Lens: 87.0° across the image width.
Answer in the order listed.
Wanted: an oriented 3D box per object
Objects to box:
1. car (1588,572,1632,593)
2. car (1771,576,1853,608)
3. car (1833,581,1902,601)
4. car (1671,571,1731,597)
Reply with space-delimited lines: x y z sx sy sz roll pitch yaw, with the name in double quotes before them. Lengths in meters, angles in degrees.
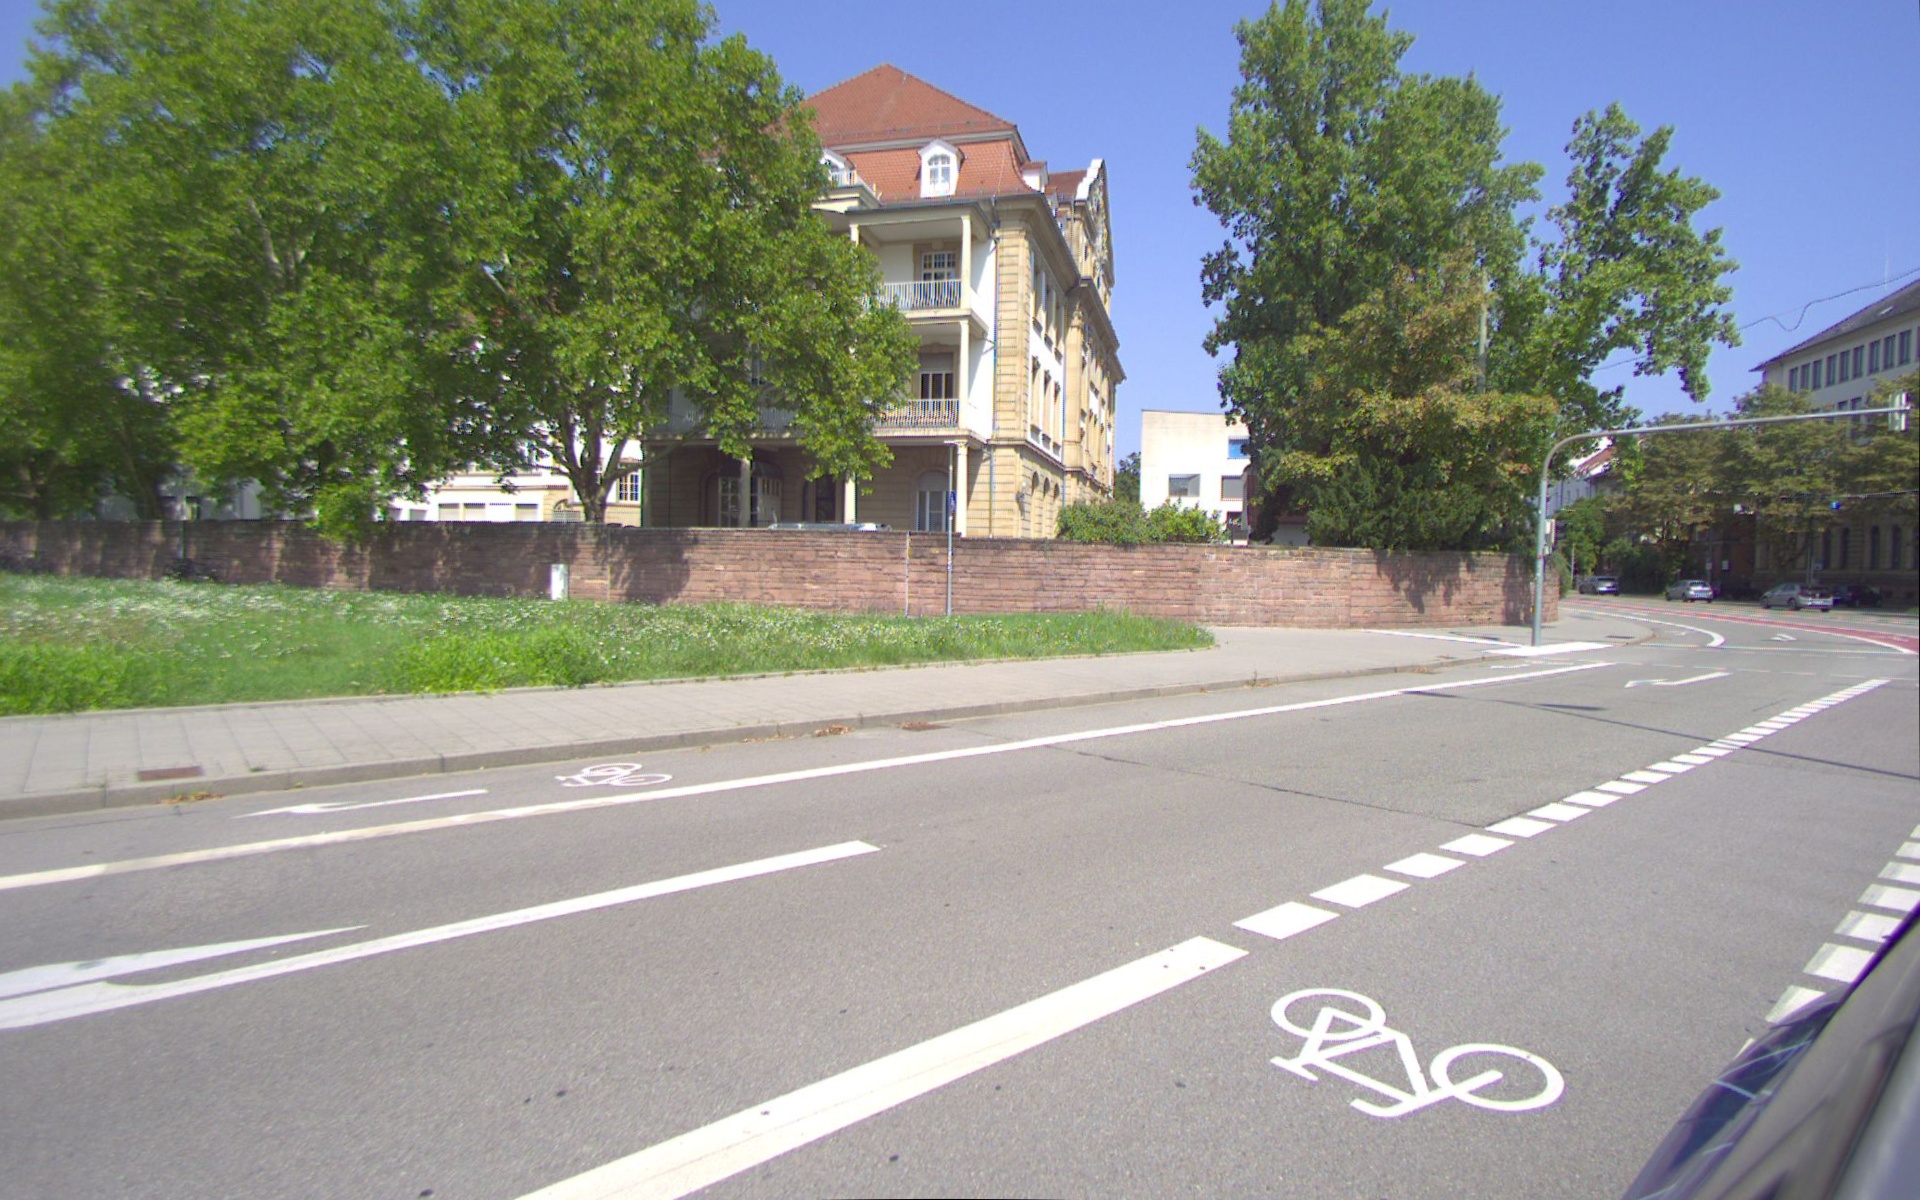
"car" 55.165 -1.509 85.957 1.971 1.660 3.983 2 2 15
"car" 47.545 -0.476 56.594 1.860 1.615 3.984 2 2 14
"car" 57.834 -0.575 64.508 3.009 1.190 1.248 2 2 10
"car" 51.010 -1.128 69.737 1.972 1.690 3.982 2 2 15
